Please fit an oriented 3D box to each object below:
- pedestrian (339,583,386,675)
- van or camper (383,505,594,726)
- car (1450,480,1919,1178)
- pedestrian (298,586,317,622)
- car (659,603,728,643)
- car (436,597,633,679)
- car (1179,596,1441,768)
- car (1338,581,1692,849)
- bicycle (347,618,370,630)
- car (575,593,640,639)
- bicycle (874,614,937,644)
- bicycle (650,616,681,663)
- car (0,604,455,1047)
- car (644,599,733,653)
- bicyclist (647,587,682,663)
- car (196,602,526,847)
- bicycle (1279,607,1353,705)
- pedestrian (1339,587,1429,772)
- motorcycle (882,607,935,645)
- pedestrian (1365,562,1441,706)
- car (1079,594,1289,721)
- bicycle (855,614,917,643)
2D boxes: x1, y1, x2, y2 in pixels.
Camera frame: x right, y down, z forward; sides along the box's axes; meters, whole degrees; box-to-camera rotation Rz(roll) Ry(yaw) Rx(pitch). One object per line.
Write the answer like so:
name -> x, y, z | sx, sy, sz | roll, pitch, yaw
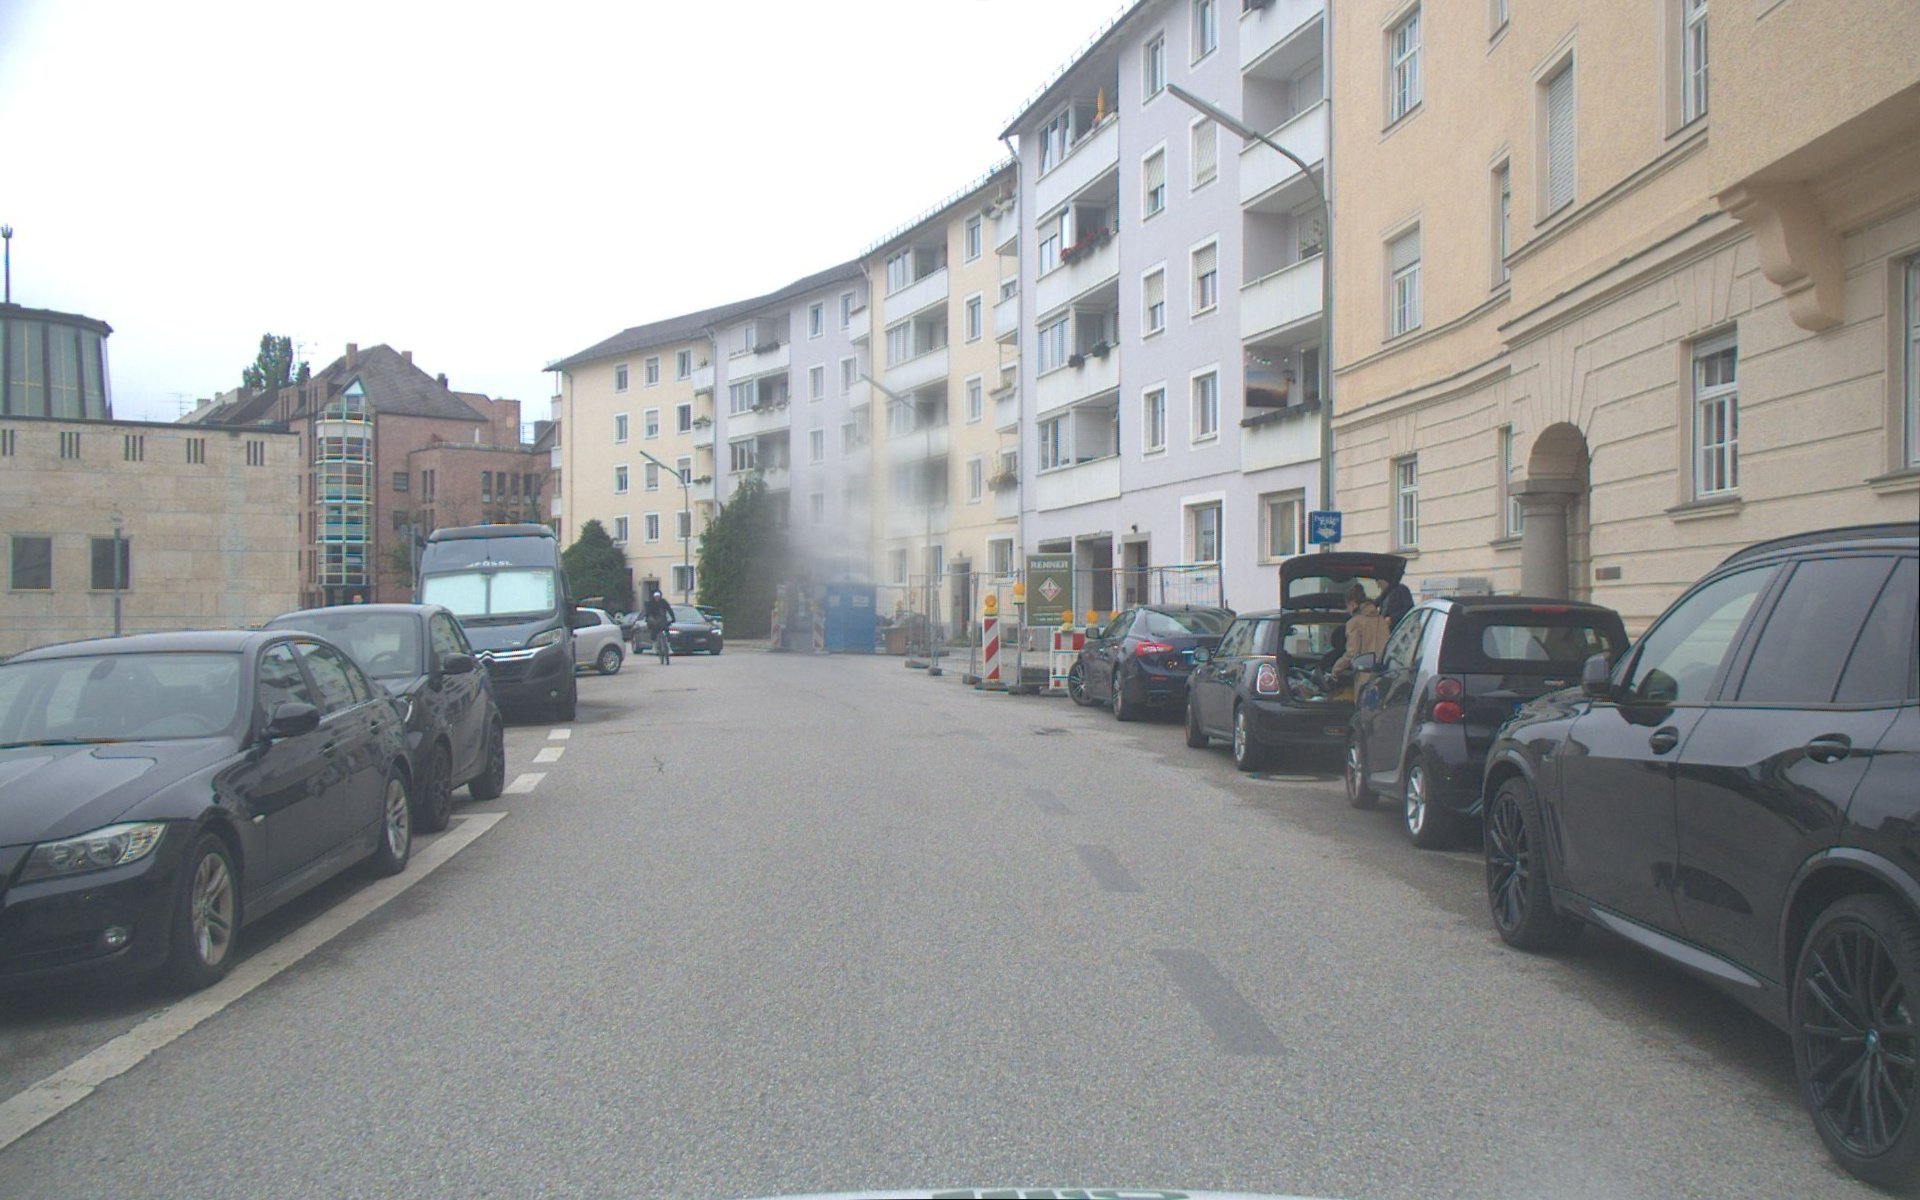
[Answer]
pedestrian -> -12.552, 0.608, 34.722 | 0.833, 1.899, 0.707 | 1, 0, -28
van or camper -> -6.307, 0.164, 22.853 | 2.256, 2.626, 6.069 | 1, 0, -11
car -> 3.518, 0.586, 5.807 | 2.125, 1.769, 5.024 | 1, 0, 0
pedestrian -> -30.606, 0.184, 77.590 | 0.750, 1.658, 0.916 | 1, 0, -19
car -> -11.058, 0.944, 68.453 | 1.808, 1.601, 3.967 | 0, 0, -25
car -> -9.036, 0.796, 35.346 | 1.683, 1.534, 3.790 | -2, 0, 40
car -> 3.247, 0.702, 16.018 | 1.598, 1.442, 3.677 | 1, 0, -3
car -> 3.666, 0.684, 11.412 | 1.482, 1.582, 3.019 | 1, 0, 1
bicycle -> -44.190, 1.787, 121.505 | 1.095, 0.869, 1.701 | 1, -1, -42
car -> -16.255, 0.731, 76.201 | 1.764, 2.011, 3.679 | -2, 0, -32
bicycle -> -2.056, 1.094, 62.687 | 2.203, 1.088, 0.912 | 0, 0, -24
bicycle -> -7.224, 0.955, 40.518 | 0.576, 1.088, 1.930 | -2, 1, -14
car -> -3.844, 0.814, 7.933 | 1.739, 1.491, 4.462 | -2, 0, -5
car -> -8.108, 0.760, 49.097 | 1.890, 1.436, 4.679 | -3, 0, -18
bicyclist -> -7.245, 0.609, 40.537 | 0.732, 1.802, 0.812 | -3, 1, -13
car -> -4.223, 0.797, 12.073 | 1.489, 1.491, 2.884 | -2, 0, -5
bicycle -> 4.821, 0.742, 22.469 | 0.623, 1.280, 1.671 | 0, 0, -1
pedestrian -> 3.650, 0.674, 14.273 | 0.615, 1.555, 0.578 | 1, 0, -1
motorcycle -> -1.713, 0.840, 54.668 | 0.919, 1.242, 2.489 | 0, 0, -23
pedestrian -> 5.506, 0.416, 20.605 | 0.604, 1.720, 0.919 | -3, -1, 0
car -> 2.882, 0.681, 22.387 | 1.870, 1.503, 4.942 | 1, 0, -4
bicycle -> -2.860, 1.087, 63.987 | 2.203, 1.088, 0.912 | 0, 0, -24
